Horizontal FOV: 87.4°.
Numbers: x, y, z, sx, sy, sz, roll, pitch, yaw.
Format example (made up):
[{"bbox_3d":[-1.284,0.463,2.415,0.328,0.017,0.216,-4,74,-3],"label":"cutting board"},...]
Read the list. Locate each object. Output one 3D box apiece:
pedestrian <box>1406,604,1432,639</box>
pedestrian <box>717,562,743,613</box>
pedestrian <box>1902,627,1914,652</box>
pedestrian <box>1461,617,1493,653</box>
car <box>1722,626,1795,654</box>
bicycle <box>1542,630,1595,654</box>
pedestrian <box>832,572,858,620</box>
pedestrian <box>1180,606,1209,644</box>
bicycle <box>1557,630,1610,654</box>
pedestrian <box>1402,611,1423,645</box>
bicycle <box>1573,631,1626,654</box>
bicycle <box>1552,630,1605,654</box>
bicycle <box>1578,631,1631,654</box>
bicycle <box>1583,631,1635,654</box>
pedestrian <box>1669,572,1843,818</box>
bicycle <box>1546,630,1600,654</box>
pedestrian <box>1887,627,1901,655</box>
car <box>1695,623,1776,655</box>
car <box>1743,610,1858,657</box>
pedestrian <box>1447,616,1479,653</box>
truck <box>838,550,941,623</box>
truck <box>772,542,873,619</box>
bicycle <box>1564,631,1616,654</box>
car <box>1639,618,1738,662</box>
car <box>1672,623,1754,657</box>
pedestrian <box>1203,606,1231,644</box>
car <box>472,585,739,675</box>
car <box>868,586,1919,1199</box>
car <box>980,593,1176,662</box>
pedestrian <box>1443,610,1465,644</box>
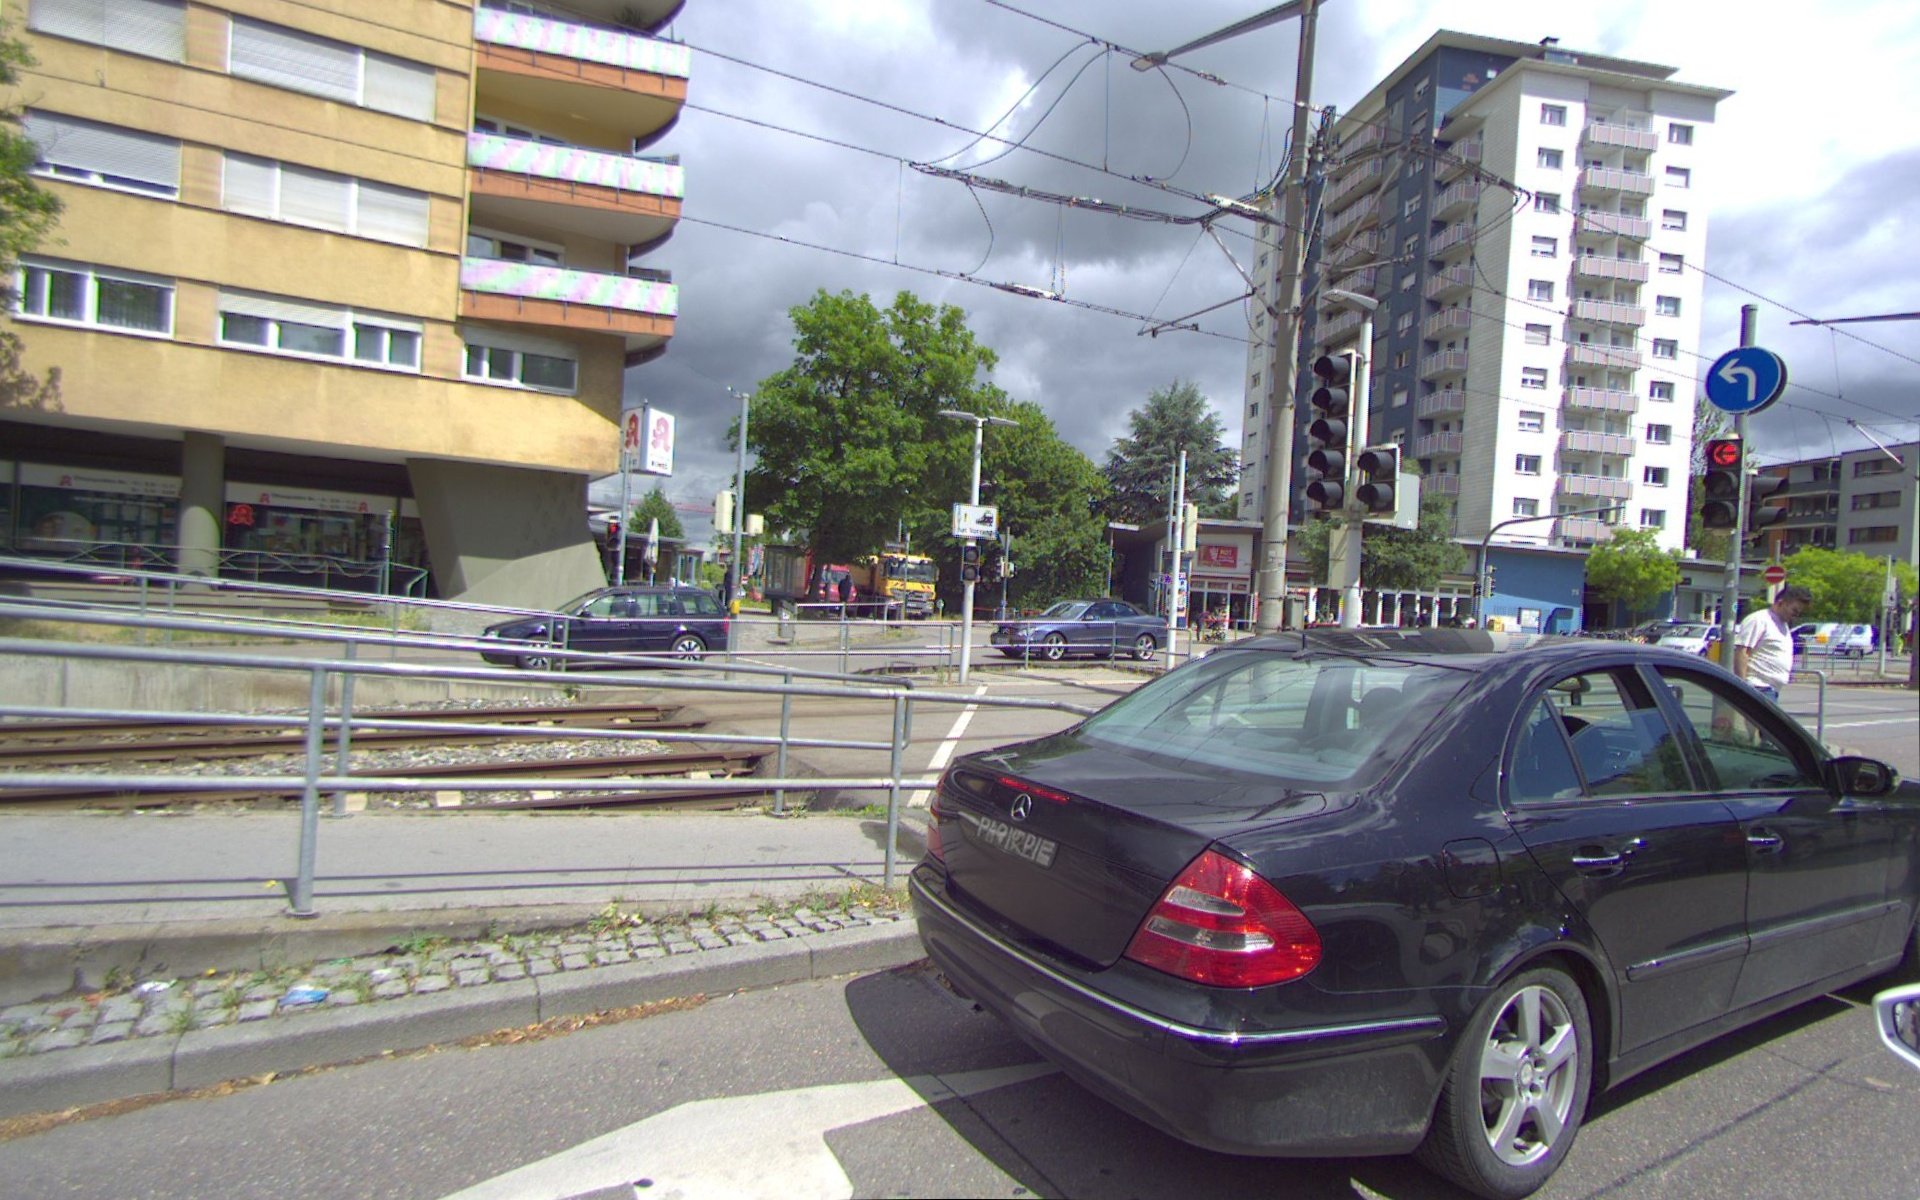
[{"bbox_3d":[26.239,1.245,57.436,1.203,1.942,0.858,1,1,-37],"label":"pedestrian"},{"bbox_3d":[-7.698,-0.426,33.586,0.753,1.638,0.776,0,4,-19],"label":"pedestrian"},{"bbox_3d":[67.047,2.808,71.030,0.401,1.739,0.542,1,1,-39],"label":"pedestrian"},{"bbox_3d":[24.923,1.670,48.448,1.087,1.681,0.939,2,-1,-33],"label":"pedestrian"},{"bbox_3d":[45.469,2.244,57.303,1.754,1.439,4.219,2,0,16],"label":"car"},{"bbox_3d":[26.283,1.815,43.411,0.490,0.947,1.934,2,0,-35],"label":"bicycle"},{"bbox_3d":[-4.197,-0.149,36.652,0.752,1.636,0.779,7,1,-9],"label":"pedestrian"},{"bbox_3d":[10.604,1.115,45.456,0.977,1.681,0.969,2,-1,-4],"label":"pedestrian"},{"bbox_3d":[27.451,1.855,44.250,0.490,0.947,1.934,2,0,-35],"label":"bicycle"},{"bbox_3d":[22.284,1.370,49.441,0.758,1.637,0.695,2,1,41],"label":"pedestrian"},{"bbox_3d":[28.484,1.890,44.746,0.490,0.947,1.934,2,0,-35],"label":"bicycle"},{"bbox_3d":[27.065,1.842,43.978,0.490,0.947,1.934,2,0,-35],"label":"bicycle"},{"bbox_3d":[28.878,1.904,45.032,0.490,0.947,1.934,2,0,-35],"label":"bicycle"},{"bbox_3d":[29.264,1.917,45.311,0.490,0.947,1.934,2,0,-35],"label":"bicycle"},{"bbox_3d":[6.345,0.704,8.027,0.734,1.832,0.863,1,1,-33],"label":"pedestrian"},{"bbox_3d":[26.654,1.828,43.689,0.490,0.947,1.934,2,0,-35],"label":"bicycle"},{"bbox_3d":[60.566,2.660,65.131,0.663,1.739,0.542,1,1,-40],"label":"pedestrian"},{"bbox_3d":[42.799,2.103,55.562,1.921,1.558,4.220,2,0,13],"label":"car"},{"bbox_3d":[49.804,1.898,59.771,2.776,2.512,6.724,2,0,17],"label":"car"},{"bbox_3d":[23.954,1.637,47.827,1.087,1.681,0.939,2,-1,-33],"label":"pedestrian"},{"bbox_3d":[-3.590,-0.620,49.212,2.733,3.244,7.443,1,0,-23],"label":"truck"},{"bbox_3d":[-6.879,-0.888,48.838,2.692,3.320,8.877,1,0,-22],"label":"truck"},{"bbox_3d":[27.914,1.871,44.527,0.490,0.947,1.934,2,0,-35],"label":"bicycle"},{"bbox_3d":[30.361,1.663,41.839,3.827,1.715,1.928,2,0,-30],"label":"car"},{"bbox_3d":[40.162,2.115,53.707,1.921,1.591,4.220,2,0,13],"label":"car"},{"bbox_3d":[11.688,1.150,45.693,0.977,1.681,0.969,2,-1,-4],"label":"pedestrian"},{"bbox_3d":[-6.202,0.492,17.745,4.207,1.433,1.620,1,0,-32],"label":"car"},{"bbox_3d":[2.061,0.763,3.799,4.490,1.481,1.720,2,0,-30],"label":"car"},{"bbox_3d":[2.759,0.646,23.121,4.445,1.418,1.625,2,0,-33],"label":"car"},{"bbox_3d":[24.767,1.345,50.316,0.693,1.637,0.760,1,1,-43],"label":"pedestrian"}]
